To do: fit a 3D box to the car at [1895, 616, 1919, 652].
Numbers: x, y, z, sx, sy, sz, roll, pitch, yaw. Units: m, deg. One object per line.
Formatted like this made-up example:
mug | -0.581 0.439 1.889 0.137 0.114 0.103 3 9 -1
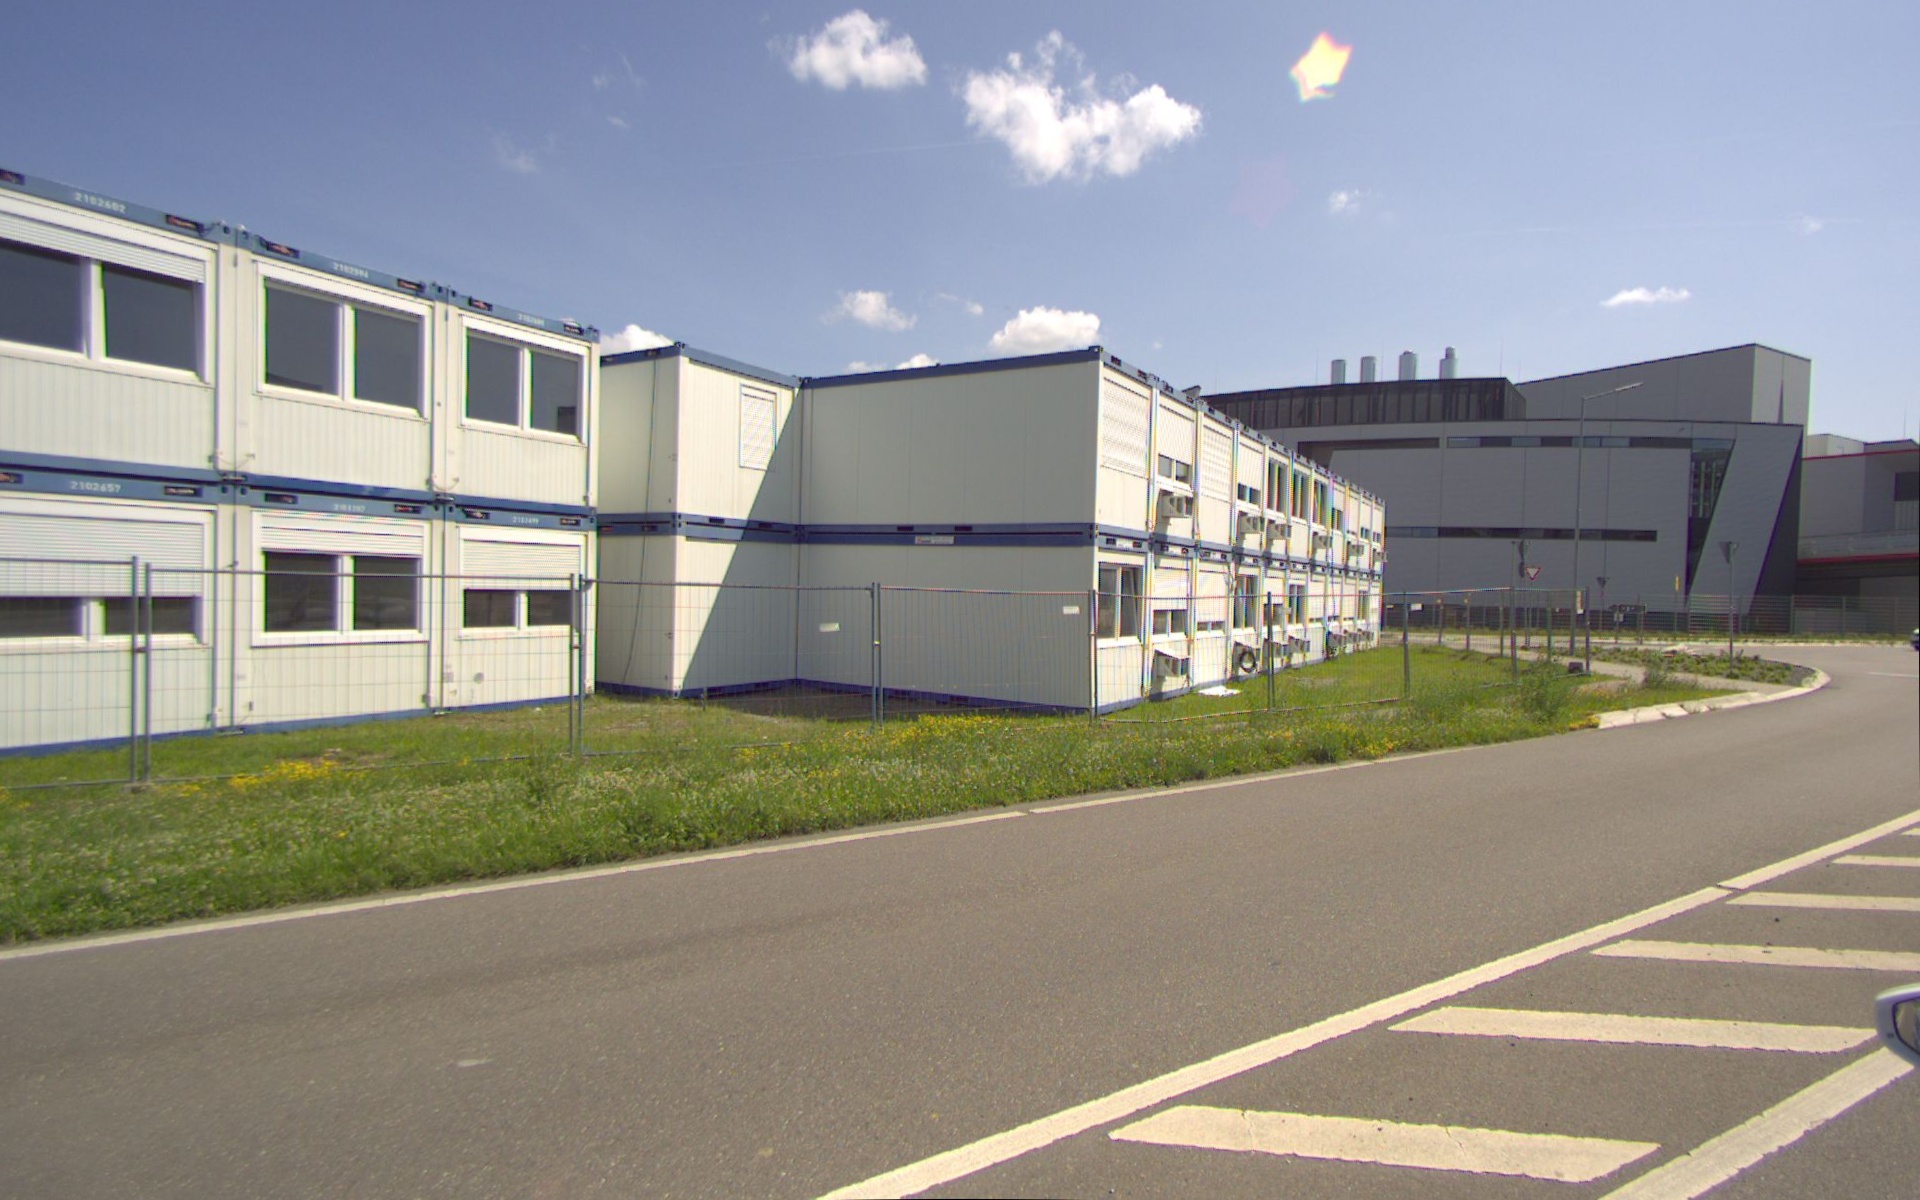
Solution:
car | 40.573 1.416 40.795 3.980 1.447 1.772 2 0 -11
